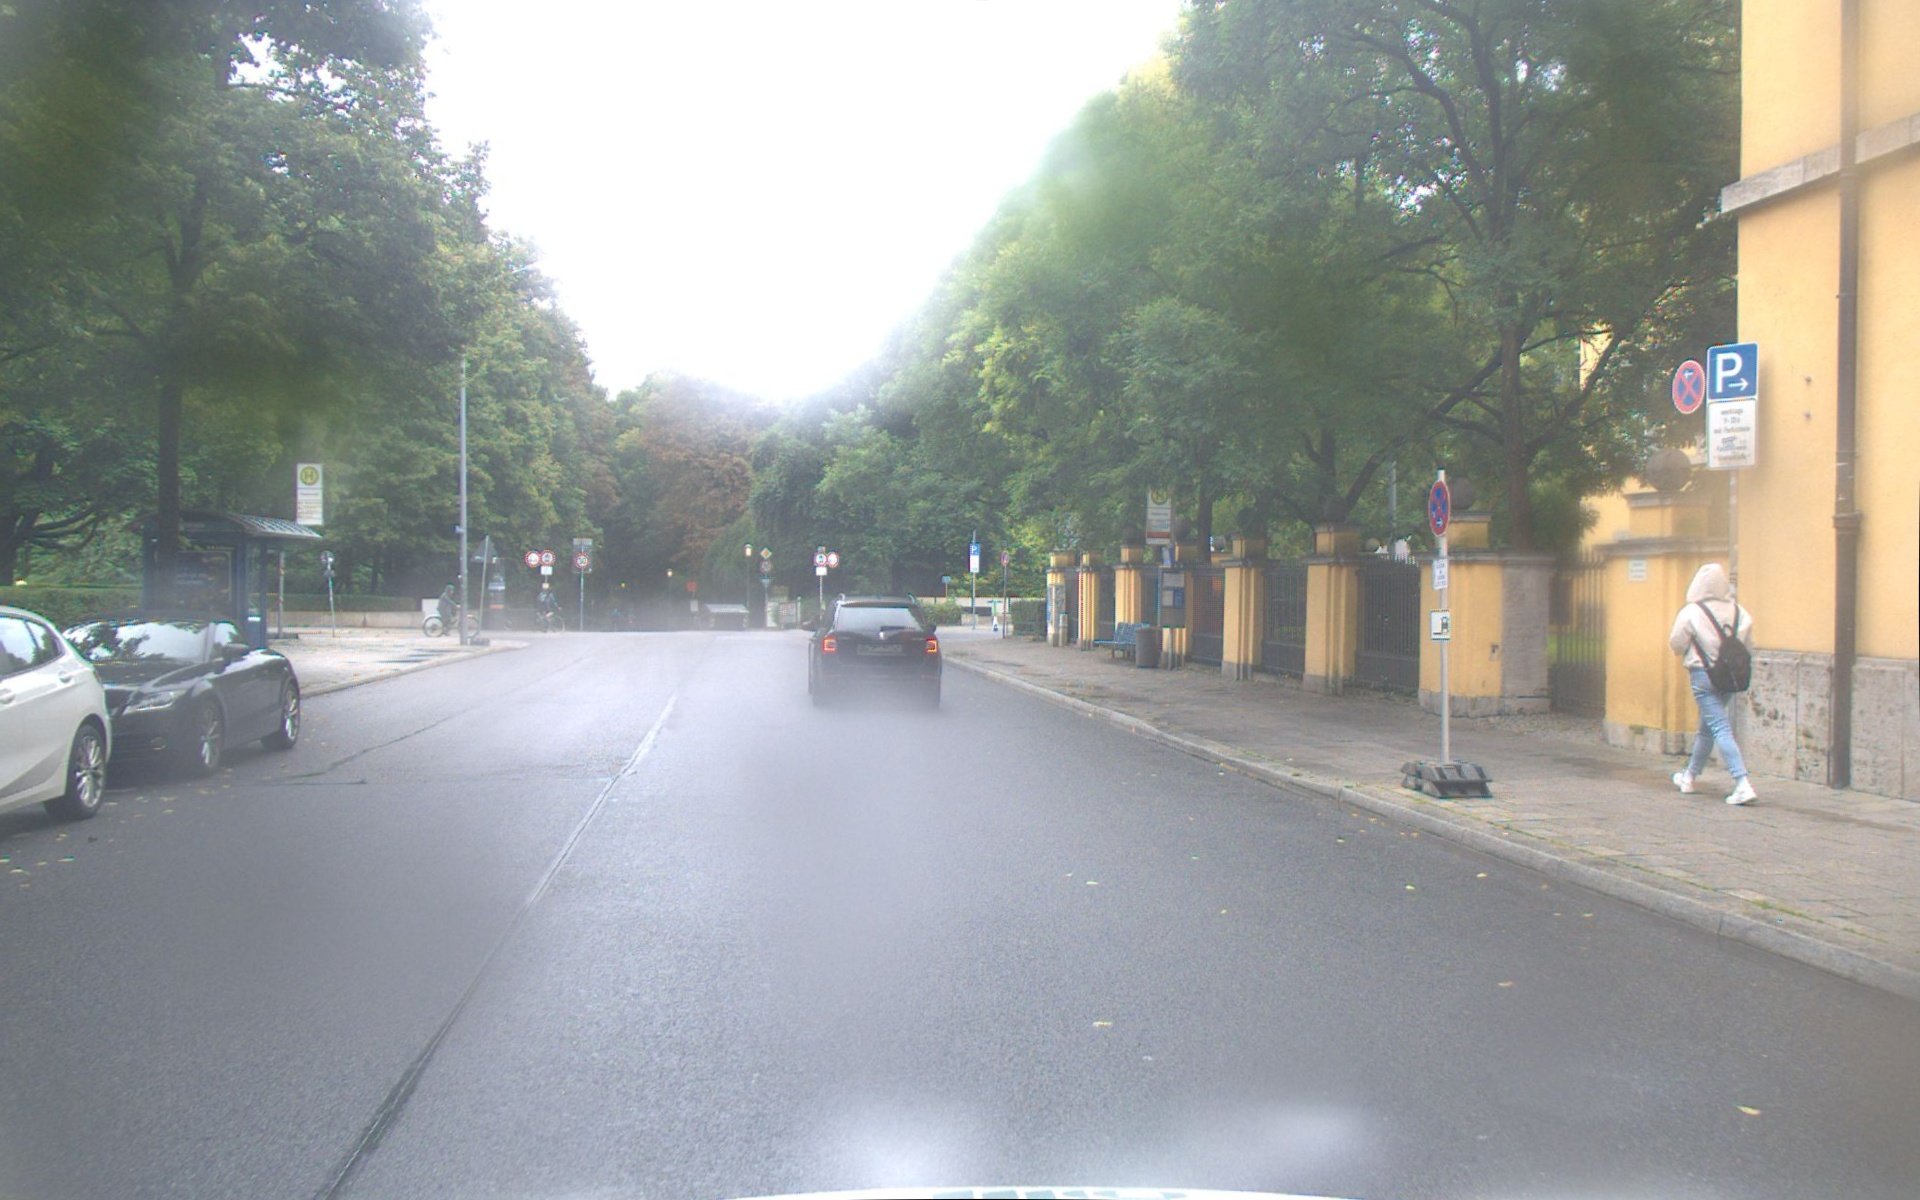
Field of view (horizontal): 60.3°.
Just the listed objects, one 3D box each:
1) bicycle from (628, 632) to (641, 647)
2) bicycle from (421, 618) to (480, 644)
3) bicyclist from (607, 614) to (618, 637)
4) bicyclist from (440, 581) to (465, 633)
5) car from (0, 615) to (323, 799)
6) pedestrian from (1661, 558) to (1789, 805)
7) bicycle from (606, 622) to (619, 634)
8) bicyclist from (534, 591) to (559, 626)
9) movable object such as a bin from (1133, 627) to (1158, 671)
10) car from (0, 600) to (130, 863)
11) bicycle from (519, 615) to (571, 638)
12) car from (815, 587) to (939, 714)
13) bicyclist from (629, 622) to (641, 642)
[{"bbox_3d":[-19.710,2.395,100.238,0.668,0.844,2.102,0,-1,-14],"label":"bicycle"},{"bbox_3d":[-15.982,0.972,51.944,1.734,0.810,0.568,0,-1,-15],"label":"bicycle"},{"bbox_3d":[-23.649,1.754,112.635,0.670,1.530,0.897,0,0,-17],"label":"bicyclist"},{"bbox_3d":[-15.942,0.226,51.977,0.738,1.613,0.653,0,-1,-15],"label":"bicyclist"},{"bbox_3d":[-7.022,0.840,14.712,1.547,1.366,4.038,0,0,-6],"label":"car"},{"bbox_3d":[5.354,0.554,11.598,0.550,1.666,0.570,-2,0,-9],"label":"pedestrian"},{"bbox_3d":[-23.634,1.895,112.563,0.669,0.844,2.099,0,-1,-17],"label":"bicycle"},{"bbox_3d":[-15.465,0.305,61.874,0.668,1.305,0.598,0,0,28],"label":"bicyclist"},{"bbox_3d":[3.492,0.920,31.126,0.389,0.794,0.464,0,0,-6],"label":"movable object such as a bin"},{"bbox_3d":[-6.330,0.764,9.510,1.548,1.523,4.191,0,0,-9],"label":"car"},{"bbox_3d":[-15.483,0.999,61.817,0.666,0.844,2.107,-1,-1,27],"label":"bicycle"},{"bbox_3d":[-1.231,0.641,23.096,1.547,1.611,4.039,0,0,-5],"label":"car"},{"bbox_3d":[-19.725,1.955,100.263,0.669,1.208,0.479,0,0,-15],"label":"bicyclist"}]
